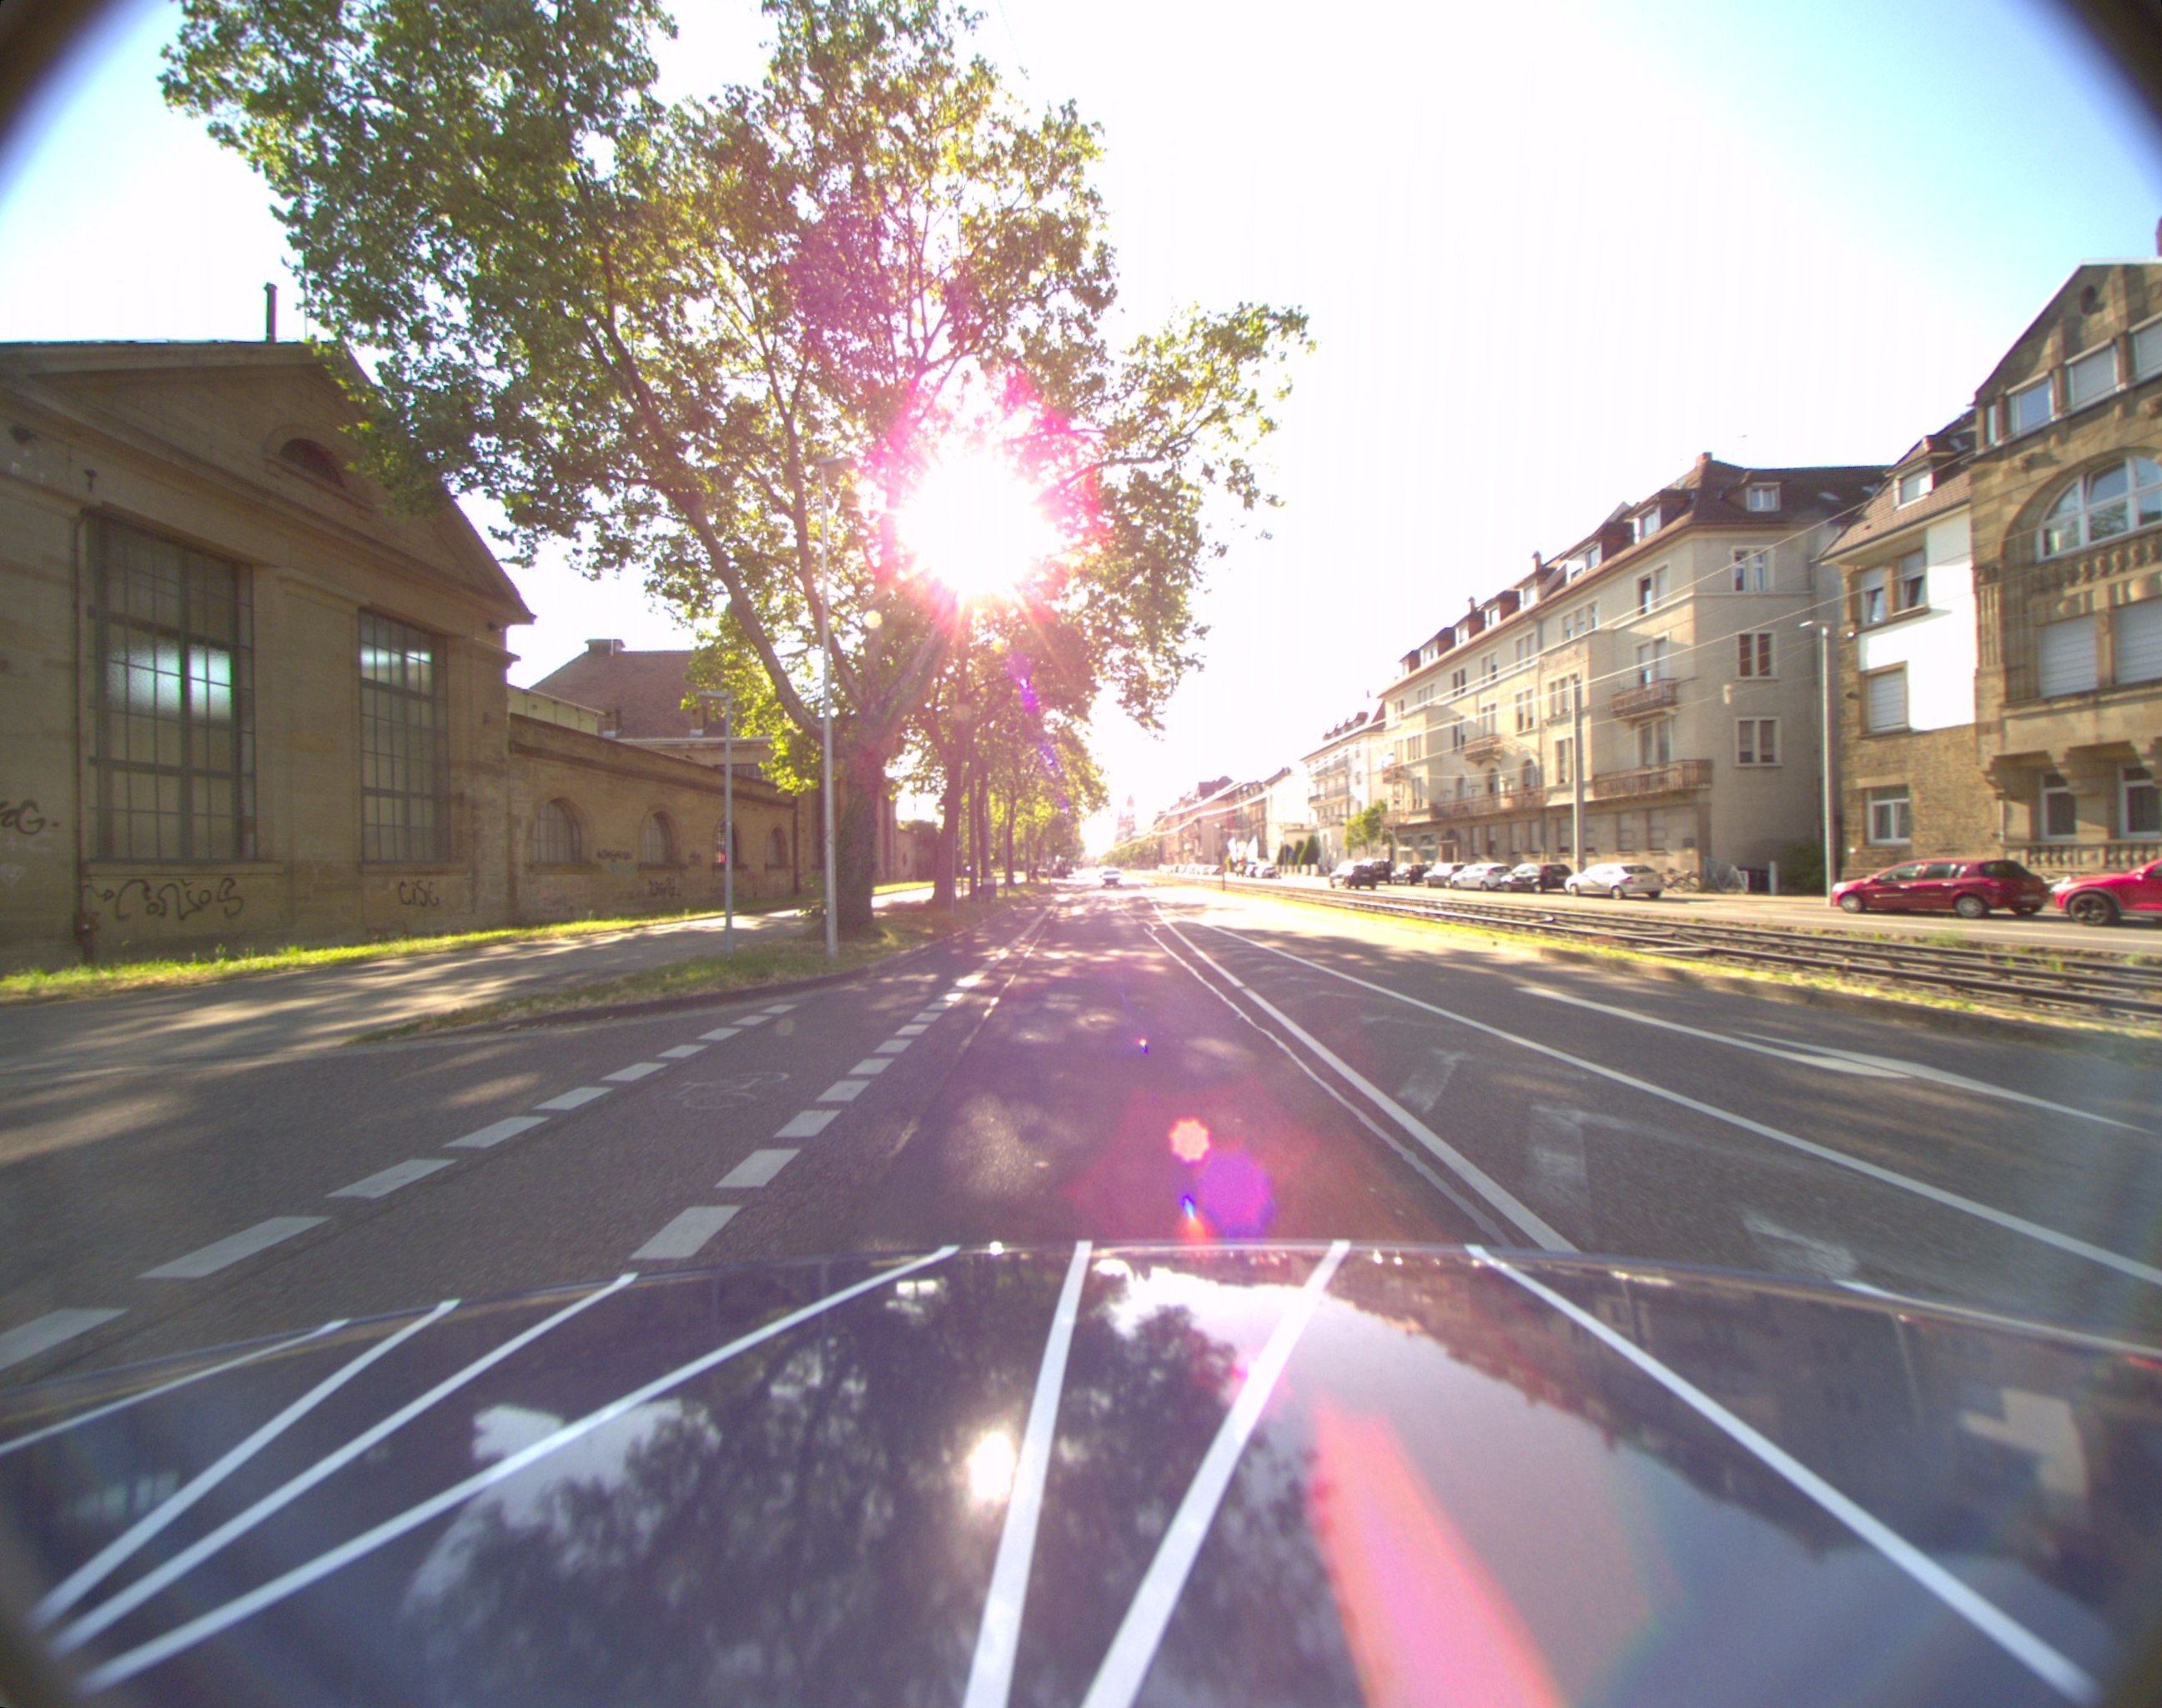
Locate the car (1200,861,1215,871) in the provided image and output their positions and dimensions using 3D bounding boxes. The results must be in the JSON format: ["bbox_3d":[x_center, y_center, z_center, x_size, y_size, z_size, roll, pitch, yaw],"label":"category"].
[{"bbox_3d":[21.642,2.060,130.342,1.925,1.684,4.843,-3,-1,2],"label":"car"}]

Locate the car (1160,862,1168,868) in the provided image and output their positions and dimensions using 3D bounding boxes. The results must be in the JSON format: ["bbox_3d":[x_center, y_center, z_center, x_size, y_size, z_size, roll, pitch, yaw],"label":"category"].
[{"bbox_3d":[21.596,2.872,197.594,1.798,1.633,4.631,-3,-1,2],"label":"car"}]

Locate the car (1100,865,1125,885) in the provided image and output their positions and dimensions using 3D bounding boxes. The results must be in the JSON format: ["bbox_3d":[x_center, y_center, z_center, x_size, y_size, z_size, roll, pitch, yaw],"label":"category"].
[{"bbox_3d":[2.552,1.672,61.853,1.799,1.501,4.000,-3,-1,-1],"label":"car"}]

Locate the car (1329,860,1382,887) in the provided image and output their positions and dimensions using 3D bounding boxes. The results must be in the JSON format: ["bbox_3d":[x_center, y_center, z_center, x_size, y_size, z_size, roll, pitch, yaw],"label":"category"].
[{"bbox_3d":[16.774,1.177,46.682,1.639,1.592,4.158,0,-1,-2],"label":"car"}]

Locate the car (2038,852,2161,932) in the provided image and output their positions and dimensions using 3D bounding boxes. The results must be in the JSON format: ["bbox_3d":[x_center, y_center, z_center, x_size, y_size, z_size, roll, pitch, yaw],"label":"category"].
[{"bbox_3d":[22.514,0.756,14.970,1.838,1.549,4.353,-2,0,1],"label":"car"}]

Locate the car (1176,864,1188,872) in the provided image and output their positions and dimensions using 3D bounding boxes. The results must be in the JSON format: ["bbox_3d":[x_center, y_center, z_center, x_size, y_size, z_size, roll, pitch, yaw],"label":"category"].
[{"bbox_3d":[21.260,2.967,160.355,1.925,1.529,4.627,-2,0,0],"label":"car"}]

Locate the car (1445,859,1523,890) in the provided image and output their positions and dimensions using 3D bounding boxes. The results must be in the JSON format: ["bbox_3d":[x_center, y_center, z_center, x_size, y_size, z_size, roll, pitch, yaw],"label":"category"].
[{"bbox_3d":[22.045,1.127,41.707,1.640,1.460,3.981,-6,0,-8],"label":"car"}]

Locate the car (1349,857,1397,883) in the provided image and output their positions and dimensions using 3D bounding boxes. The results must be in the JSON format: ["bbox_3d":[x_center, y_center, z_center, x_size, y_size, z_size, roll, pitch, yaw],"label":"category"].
[{"bbox_3d":[22.311,1.224,58.217,1.867,1.775,4.402,-3,-1,-1],"label":"car"}]

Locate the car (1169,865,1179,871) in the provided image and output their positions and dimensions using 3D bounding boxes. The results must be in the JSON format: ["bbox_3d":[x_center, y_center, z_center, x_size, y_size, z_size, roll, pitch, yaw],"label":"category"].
[{"bbox_3d":[20.984,3.182,172.114,1.664,1.437,3.981,-3,-1,0],"label":"car"}]

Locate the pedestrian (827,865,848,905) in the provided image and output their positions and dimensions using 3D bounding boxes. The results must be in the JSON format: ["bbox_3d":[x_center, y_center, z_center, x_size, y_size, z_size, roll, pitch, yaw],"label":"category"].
[{"bbox_3d":[-10.425,1.312,32.557,0.609,1.672,0.636,3,0,-2],"label":"pedestrian"}]

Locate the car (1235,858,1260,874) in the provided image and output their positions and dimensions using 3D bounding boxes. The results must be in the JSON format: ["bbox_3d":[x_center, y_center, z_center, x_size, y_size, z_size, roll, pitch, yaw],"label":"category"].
[{"bbox_3d":[22.194,1.554,101.506,2.082,1.998,5.592,-3,0,2],"label":"car"}]

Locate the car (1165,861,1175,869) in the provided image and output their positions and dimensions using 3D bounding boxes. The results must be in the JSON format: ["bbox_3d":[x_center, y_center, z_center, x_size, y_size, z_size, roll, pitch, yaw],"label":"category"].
[{"bbox_3d":[21.277,2.652,181.464,1.799,1.796,4.000,-3,0,-2],"label":"car"}]

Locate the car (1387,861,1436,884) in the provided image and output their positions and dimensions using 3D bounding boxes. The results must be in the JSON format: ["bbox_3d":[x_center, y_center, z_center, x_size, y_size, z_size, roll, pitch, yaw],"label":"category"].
[{"bbox_3d":[22.605,1.235,52.099,1.632,1.383,3.508,-4,-1,-2],"label":"car"}]

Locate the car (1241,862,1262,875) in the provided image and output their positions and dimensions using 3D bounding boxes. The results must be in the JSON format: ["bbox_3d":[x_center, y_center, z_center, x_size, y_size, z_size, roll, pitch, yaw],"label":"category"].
[{"bbox_3d":[21.294,1.775,95.057,1.639,1.498,4.159,-3,0,2],"label":"car"}]

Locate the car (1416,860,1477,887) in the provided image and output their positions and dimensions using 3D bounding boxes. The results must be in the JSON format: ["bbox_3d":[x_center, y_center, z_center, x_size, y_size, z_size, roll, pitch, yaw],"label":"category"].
[{"bbox_3d":[22.366,1.156,46.688,1.639,1.460,4.159,-4,0,-1],"label":"car"}]

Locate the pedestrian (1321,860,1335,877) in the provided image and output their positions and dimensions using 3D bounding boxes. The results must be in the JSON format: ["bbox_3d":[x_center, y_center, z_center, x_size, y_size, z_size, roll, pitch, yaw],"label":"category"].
[{"bbox_3d":[26.802,1.544,82.354,0.995,1.767,0.934,-3,1,-15],"label":"pedestrian"}]

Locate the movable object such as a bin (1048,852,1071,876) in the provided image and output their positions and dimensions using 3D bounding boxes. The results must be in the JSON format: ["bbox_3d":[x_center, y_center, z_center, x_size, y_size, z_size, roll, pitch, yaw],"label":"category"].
[{"bbox_3d":[-2.861,1.353,104.857,2.751,3.127,7.220,2,-1,1],"label":"movable object such as a bin"}]

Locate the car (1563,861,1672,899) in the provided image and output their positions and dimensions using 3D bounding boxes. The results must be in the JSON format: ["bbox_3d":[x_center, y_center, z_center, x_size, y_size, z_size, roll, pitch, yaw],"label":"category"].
[{"bbox_3d":[22.477,1.060,32.043,1.639,1.460,4.159,-1,-1,0],"label":"car"}]

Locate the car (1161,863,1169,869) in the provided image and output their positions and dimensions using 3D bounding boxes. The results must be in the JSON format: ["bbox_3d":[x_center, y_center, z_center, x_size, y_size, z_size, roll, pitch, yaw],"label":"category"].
[{"bbox_3d":[21.378,2.962,192.872,1.664,1.437,3.765,-3,-1,0],"label":"car"}]

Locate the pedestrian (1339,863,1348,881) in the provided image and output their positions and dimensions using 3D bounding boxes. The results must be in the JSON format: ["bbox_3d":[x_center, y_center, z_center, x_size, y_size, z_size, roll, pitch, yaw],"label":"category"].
[{"bbox_3d":[24.618,1.688,71.263,0.589,1.687,0.859,-2,1,30],"label":"pedestrian"}]

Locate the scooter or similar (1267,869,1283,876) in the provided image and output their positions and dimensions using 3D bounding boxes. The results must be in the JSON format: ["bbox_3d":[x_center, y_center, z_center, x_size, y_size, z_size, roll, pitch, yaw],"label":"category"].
[{"bbox_3d":[21.199,1.988,82.984,1.565,0.766,0.810,-1,-1,31],"label":"scooter or similar"}]

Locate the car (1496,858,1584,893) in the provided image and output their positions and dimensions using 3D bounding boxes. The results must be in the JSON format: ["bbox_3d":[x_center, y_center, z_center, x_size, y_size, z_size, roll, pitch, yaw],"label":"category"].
[{"bbox_3d":[22.490,1.011,37.427,1.639,1.460,4.159,-6,0,-1],"label":"car"}]

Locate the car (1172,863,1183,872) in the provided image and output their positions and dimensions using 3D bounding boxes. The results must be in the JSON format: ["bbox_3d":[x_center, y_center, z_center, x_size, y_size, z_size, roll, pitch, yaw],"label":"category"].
[{"bbox_3d":[21.235,2.938,166.885,1.664,1.796,4.728,-3,-1,-2],"label":"car"}]

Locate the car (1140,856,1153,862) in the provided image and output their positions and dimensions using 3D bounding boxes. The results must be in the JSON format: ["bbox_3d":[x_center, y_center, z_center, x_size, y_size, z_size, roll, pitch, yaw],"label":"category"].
[{"bbox_3d":[20.947,1.637,242.818,3.991,1.501,1.802,-3,0,21],"label":"car"}]

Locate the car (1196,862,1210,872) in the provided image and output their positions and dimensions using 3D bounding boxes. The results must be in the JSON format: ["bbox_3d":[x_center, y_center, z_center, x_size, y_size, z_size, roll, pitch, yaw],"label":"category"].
[{"bbox_3d":[21.859,2.288,136.186,1.925,1.551,4.843,-3,-1,3],"label":"car"}]

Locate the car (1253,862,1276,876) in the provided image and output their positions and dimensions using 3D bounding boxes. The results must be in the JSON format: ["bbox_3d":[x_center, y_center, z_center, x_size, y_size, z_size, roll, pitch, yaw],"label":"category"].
[{"bbox_3d":[21.669,1.773,89.934,1.798,1.501,4.000,-3,0,1],"label":"car"}]

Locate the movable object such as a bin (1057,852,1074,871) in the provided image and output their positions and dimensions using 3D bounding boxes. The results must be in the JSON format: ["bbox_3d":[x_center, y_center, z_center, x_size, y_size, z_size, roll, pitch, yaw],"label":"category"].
[{"bbox_3d":[-3.364,1.626,164.337,3.347,3.952,7.597,2,-1,-2],"label":"movable object such as a bin"}]

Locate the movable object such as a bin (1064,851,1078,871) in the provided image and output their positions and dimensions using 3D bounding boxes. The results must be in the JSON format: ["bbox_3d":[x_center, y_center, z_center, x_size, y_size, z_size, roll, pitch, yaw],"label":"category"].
[{"bbox_3d":[-2.460,1.666,184.265,2.922,4.583,7.597,2,-1,-2],"label":"movable object such as a bin"}]

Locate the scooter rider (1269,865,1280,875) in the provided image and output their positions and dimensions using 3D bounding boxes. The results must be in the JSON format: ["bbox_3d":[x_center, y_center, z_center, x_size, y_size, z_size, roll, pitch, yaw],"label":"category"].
[{"bbox_3d":[21.160,1.798,83.004,0.976,1.082,0.810,-1,0,31],"label":"scooter rider"}]

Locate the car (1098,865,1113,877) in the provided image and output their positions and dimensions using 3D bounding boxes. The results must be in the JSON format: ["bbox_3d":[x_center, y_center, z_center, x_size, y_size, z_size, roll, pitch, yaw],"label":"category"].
[{"bbox_3d":[3.311,2.220,101.700,1.799,1.501,4.000,-3,-1,-1],"label":"car"}]

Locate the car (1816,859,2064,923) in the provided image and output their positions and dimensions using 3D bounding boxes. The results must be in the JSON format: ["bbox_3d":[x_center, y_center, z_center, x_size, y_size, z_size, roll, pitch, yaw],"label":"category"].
[{"bbox_3d":[22.557,0.908,20.226,1.839,1.383,4.034,-4,0,-5],"label":"car"}]

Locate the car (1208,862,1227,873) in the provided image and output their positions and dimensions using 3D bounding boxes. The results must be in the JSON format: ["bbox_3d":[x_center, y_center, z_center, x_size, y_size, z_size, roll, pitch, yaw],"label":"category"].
[{"bbox_3d":[21.677,2.132,121.015,1.926,1.452,4.842,-6,-1,-2],"label":"car"}]
